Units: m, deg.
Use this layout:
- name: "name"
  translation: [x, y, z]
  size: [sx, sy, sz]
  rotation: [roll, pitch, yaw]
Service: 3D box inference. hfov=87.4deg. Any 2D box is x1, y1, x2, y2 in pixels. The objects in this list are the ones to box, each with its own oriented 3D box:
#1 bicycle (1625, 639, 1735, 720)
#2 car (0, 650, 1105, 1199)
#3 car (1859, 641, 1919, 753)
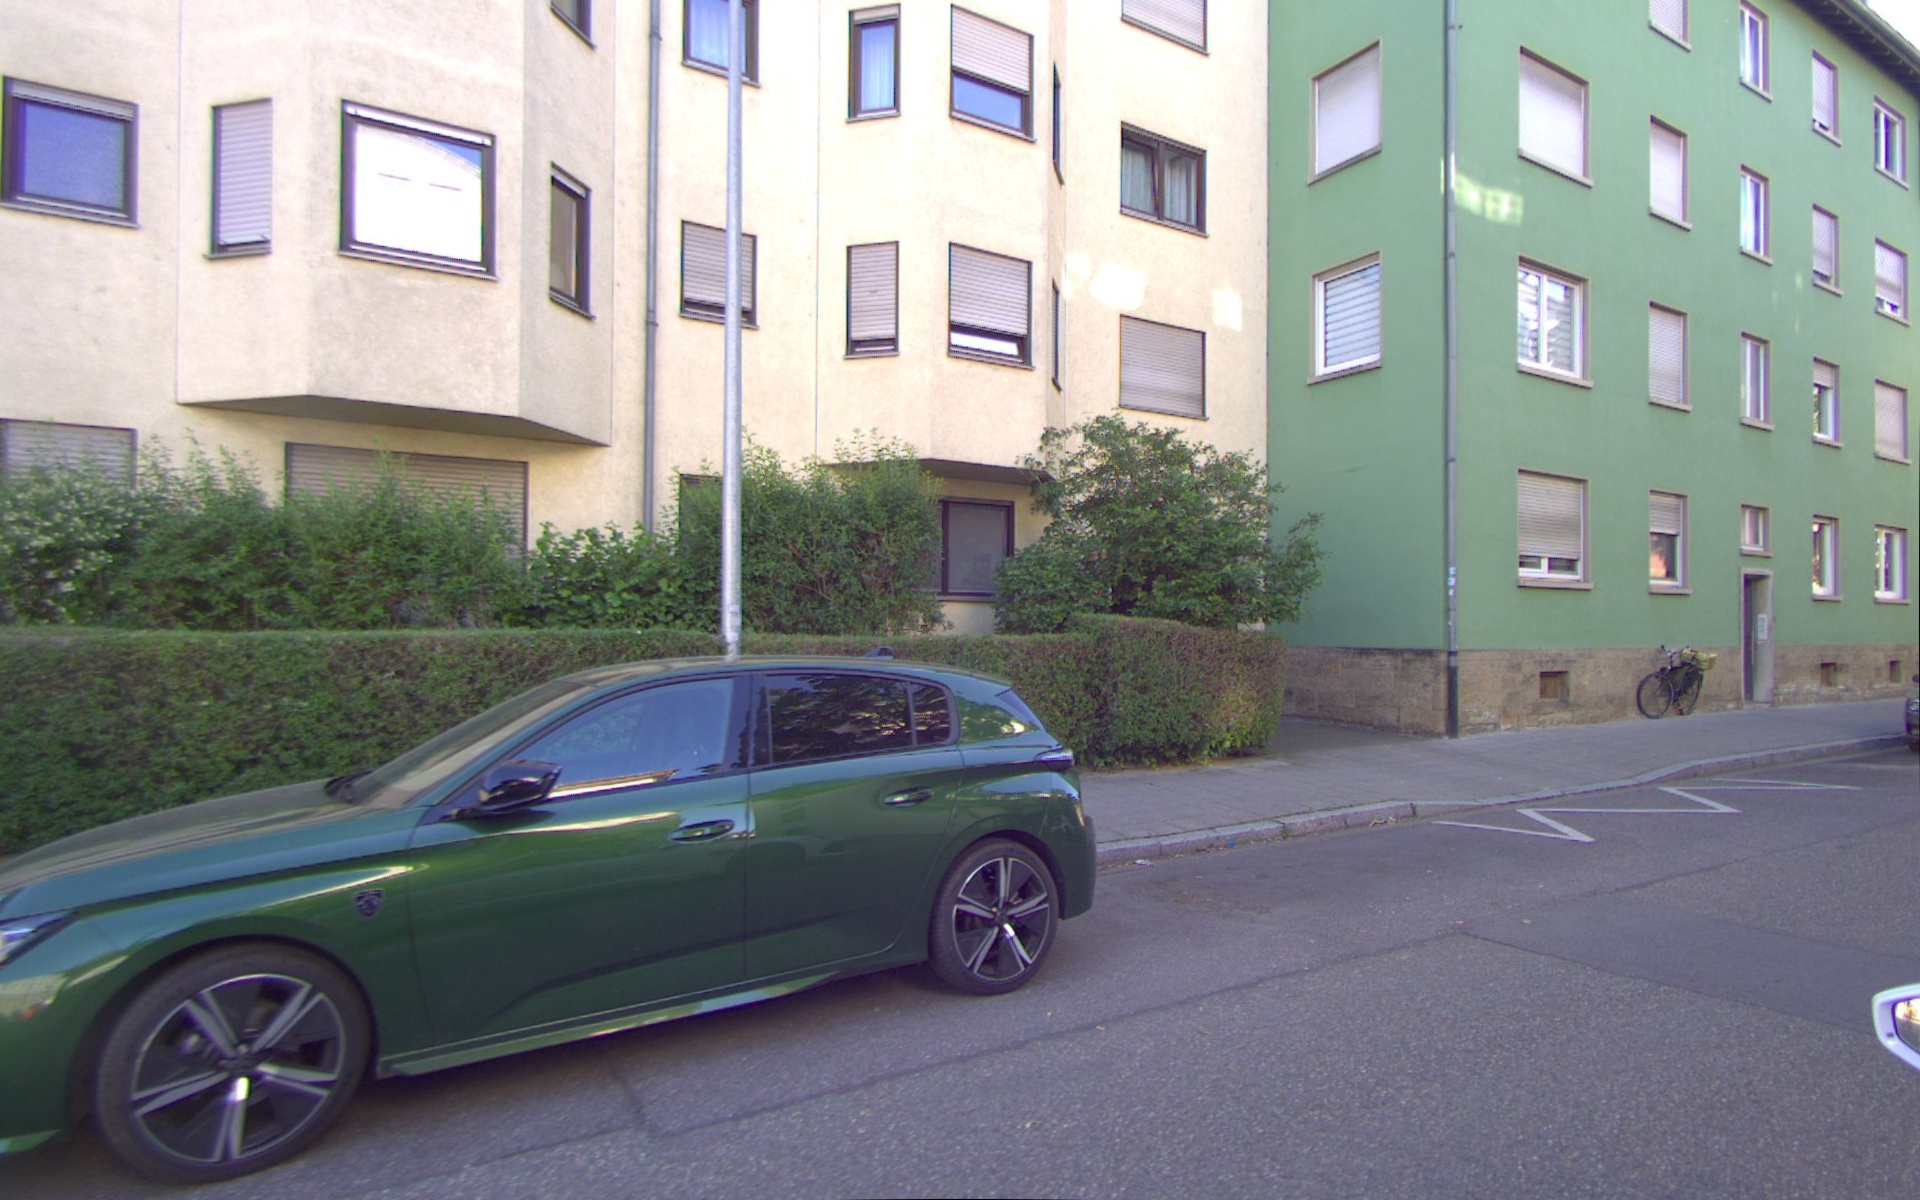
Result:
- name: "bicycle"
  translation: [11.592, 1.250, 16.152]
  size: [2.252, 1.194, 0.548]
  rotation: [1, 2, -31]
- name: "car"
  translation: [-1.537, 0.986, 4.108]
  size: [4.091, 1.516, 1.743]
  rotation: [1, -4, -33]
- name: "car"
  translation: [14.603, 1.291, 14.114]
  size: [4.072, 1.474, 1.967]
  rotation: [1, -5, -35]
